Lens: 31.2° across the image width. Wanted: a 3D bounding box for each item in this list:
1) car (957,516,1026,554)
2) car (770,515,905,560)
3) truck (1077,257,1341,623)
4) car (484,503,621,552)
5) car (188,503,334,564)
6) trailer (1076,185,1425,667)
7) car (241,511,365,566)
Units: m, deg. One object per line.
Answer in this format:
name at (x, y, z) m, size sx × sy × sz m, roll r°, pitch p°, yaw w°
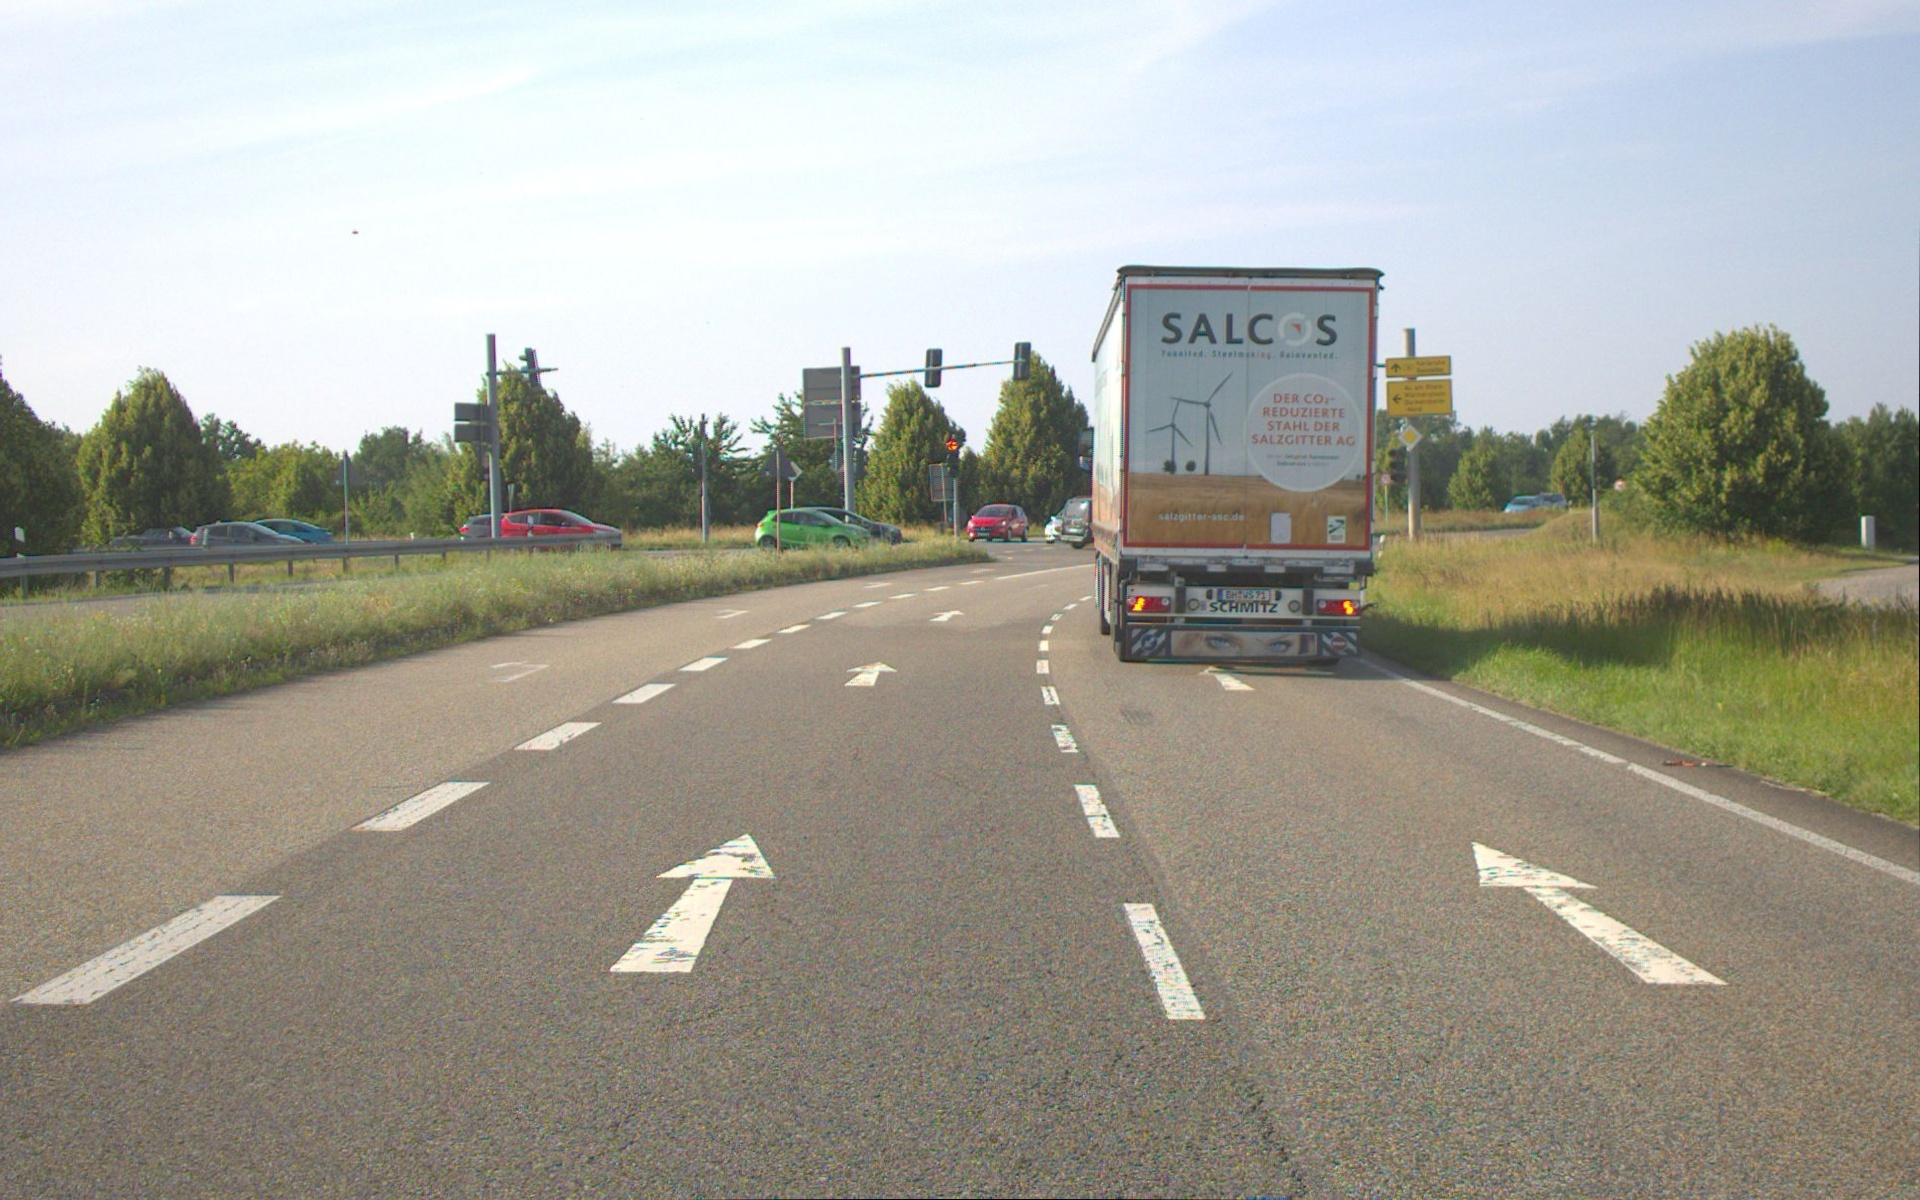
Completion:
car at (1.281, -2.615, 137.496) m, size 1.722 × 1.483 × 3.801 m, roll 0°, pitch 2°, yaw 17°
car at (-4.058, -2.049, 113.755) m, size 4.421 × 1.412 × 1.920 m, roll 1°, pitch 1°, yaw -2°
truck at (3.275, -2.125, 46.877) m, size 3.300 × 4.641 × 5.732 m, roll 1°, pitch 1°, yaw 2°
car at (-13.789, -2.452, 116.471) m, size 4.265 × 1.559 × 1.901 m, roll 1°, pitch 1°, yaw 8°
car at (-23.881, -2.266, 117.549) m, size 4.460 × 2.007 × 1.999 m, roll 1°, pitch 1°, yaw 11°
trailer at (3.050, -1.918, 40.113) m, size 3.281 × 4.665 × 13.148 m, roll 1°, pitch 2°, yaw 2°
car at (-24.702, -2.308, 129.427) m, size 4.457 × 2.007 × 2.000 m, roll 1°, pitch 1°, yaw -7°
